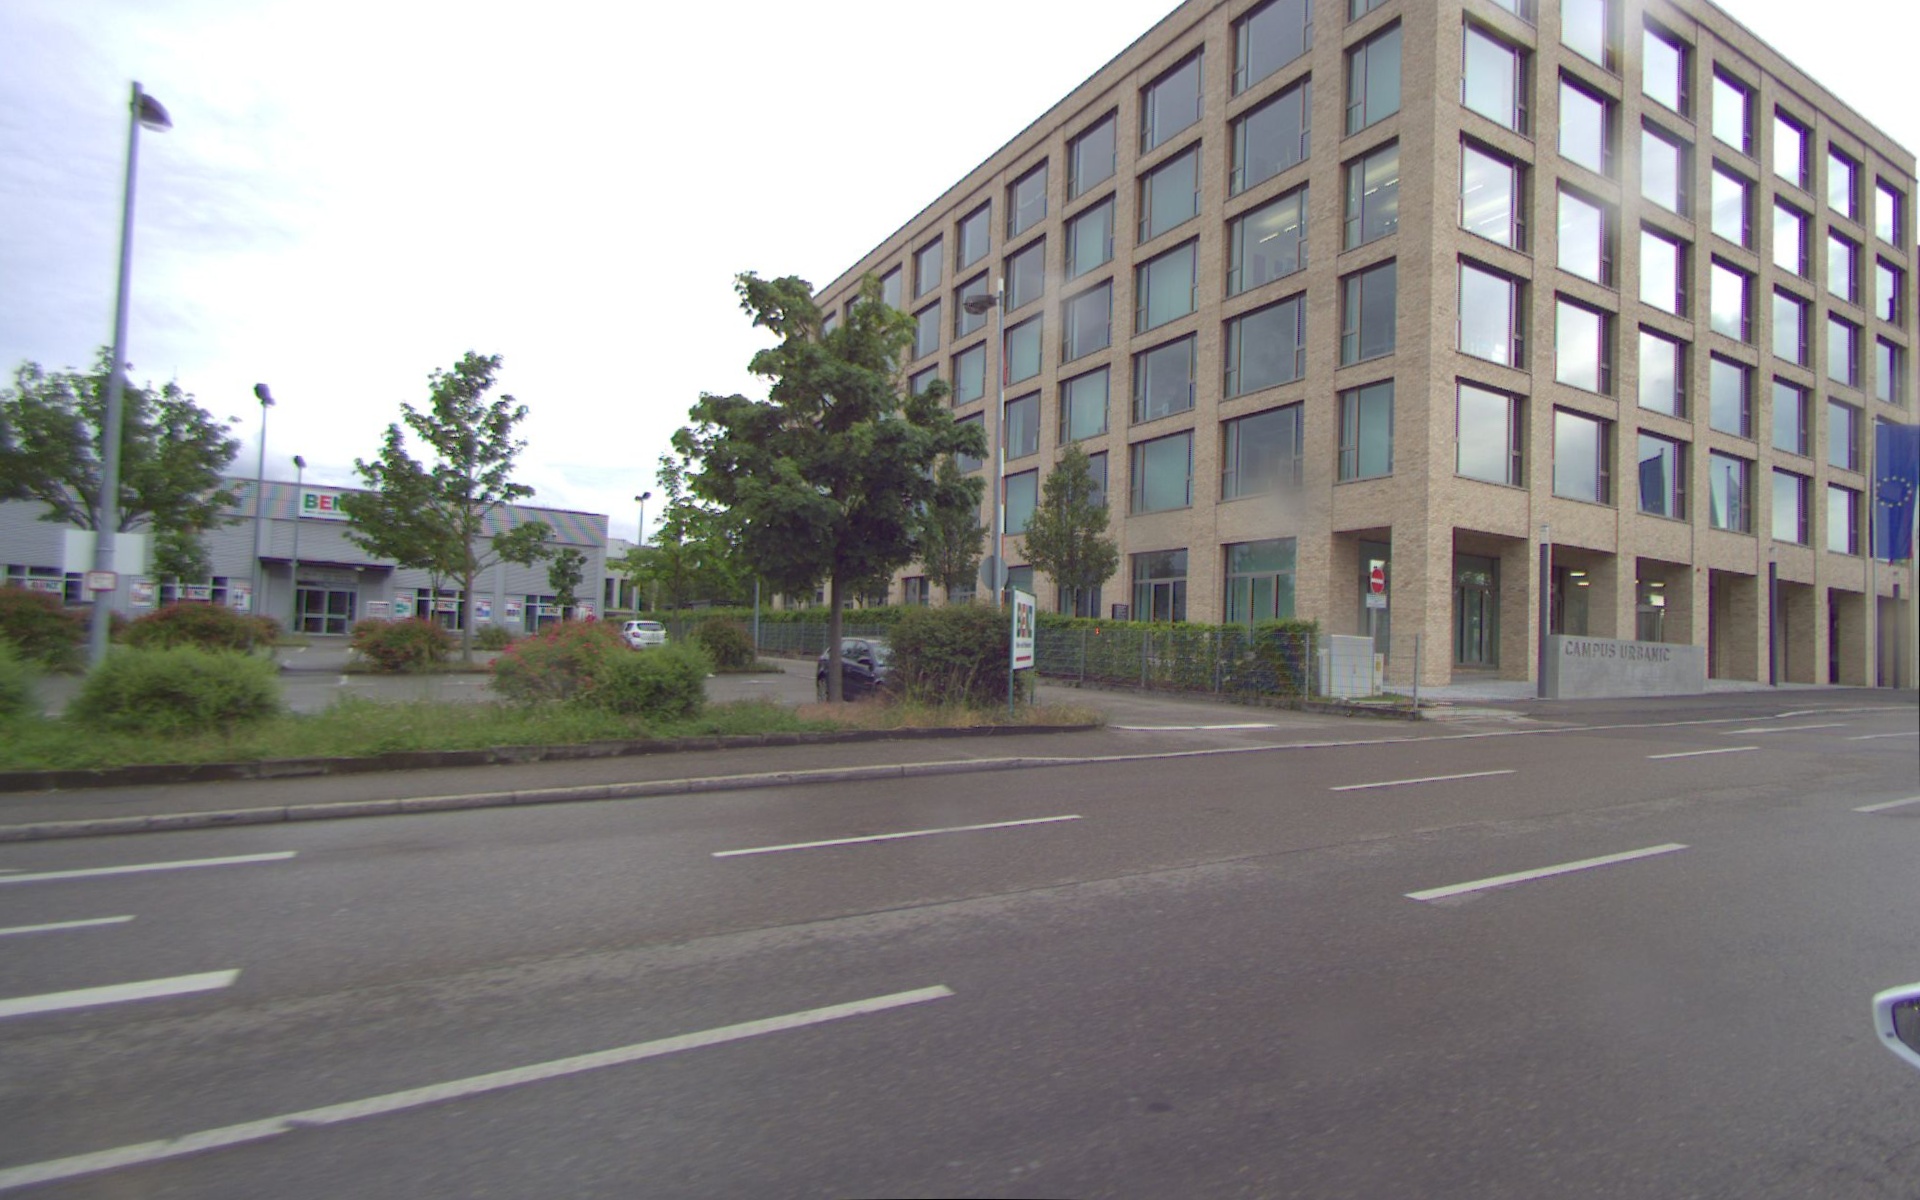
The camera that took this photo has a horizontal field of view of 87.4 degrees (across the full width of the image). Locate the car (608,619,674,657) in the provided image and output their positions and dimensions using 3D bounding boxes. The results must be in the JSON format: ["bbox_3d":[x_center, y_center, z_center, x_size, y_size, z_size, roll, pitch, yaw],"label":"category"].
[{"bbox_3d":[-14.441,1.678,45.326,1.977,1.617,3.967,1,-1,-31],"label":"car"}]

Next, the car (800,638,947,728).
[{"bbox_3d":[-1.765,1.530,19.530,1.525,1.483,3.471,1,-1,-30],"label":"car"}]
